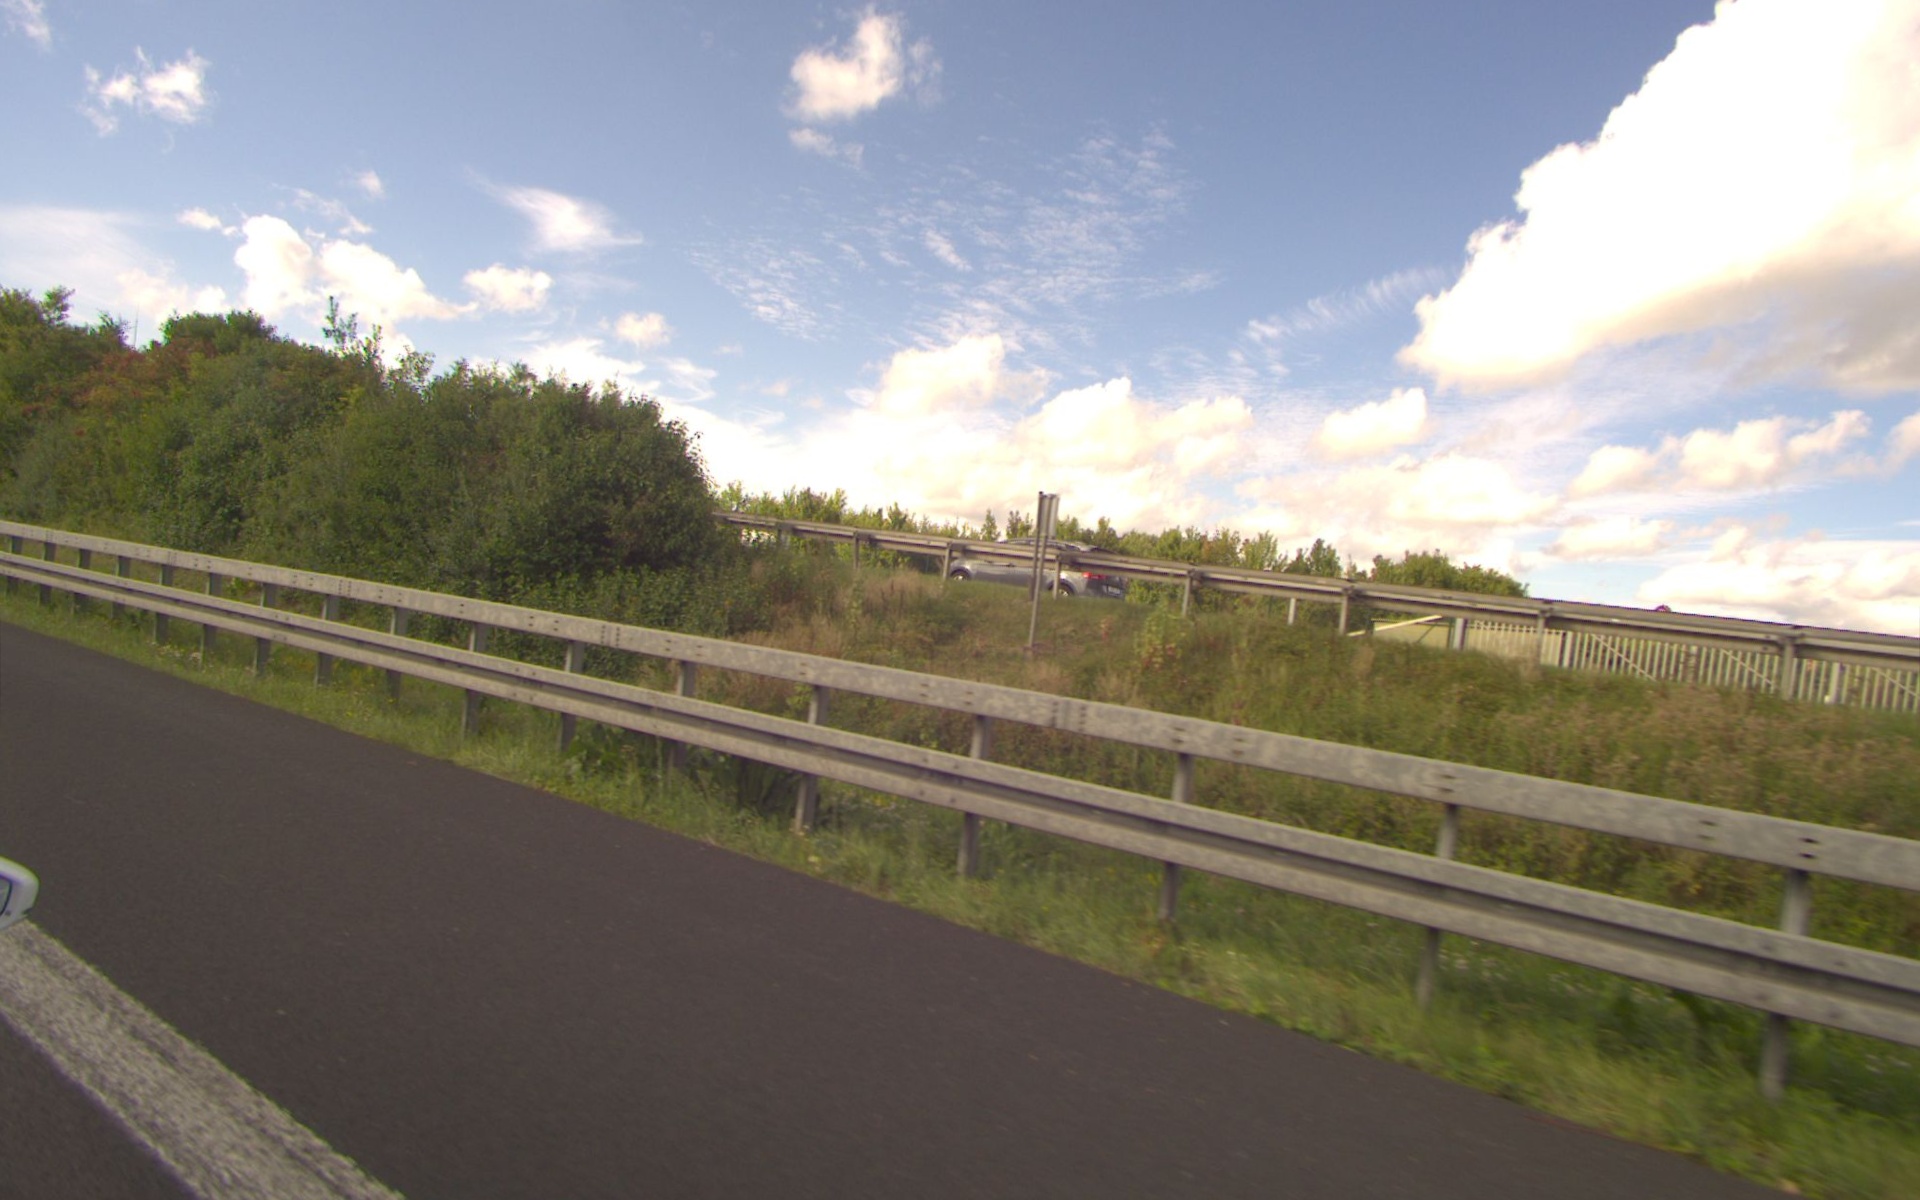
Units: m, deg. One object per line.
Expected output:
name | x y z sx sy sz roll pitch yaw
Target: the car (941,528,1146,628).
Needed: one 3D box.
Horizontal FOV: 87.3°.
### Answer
car | 1.836 -0.500 22.321 3.934 1.738 1.995 7 1 32
